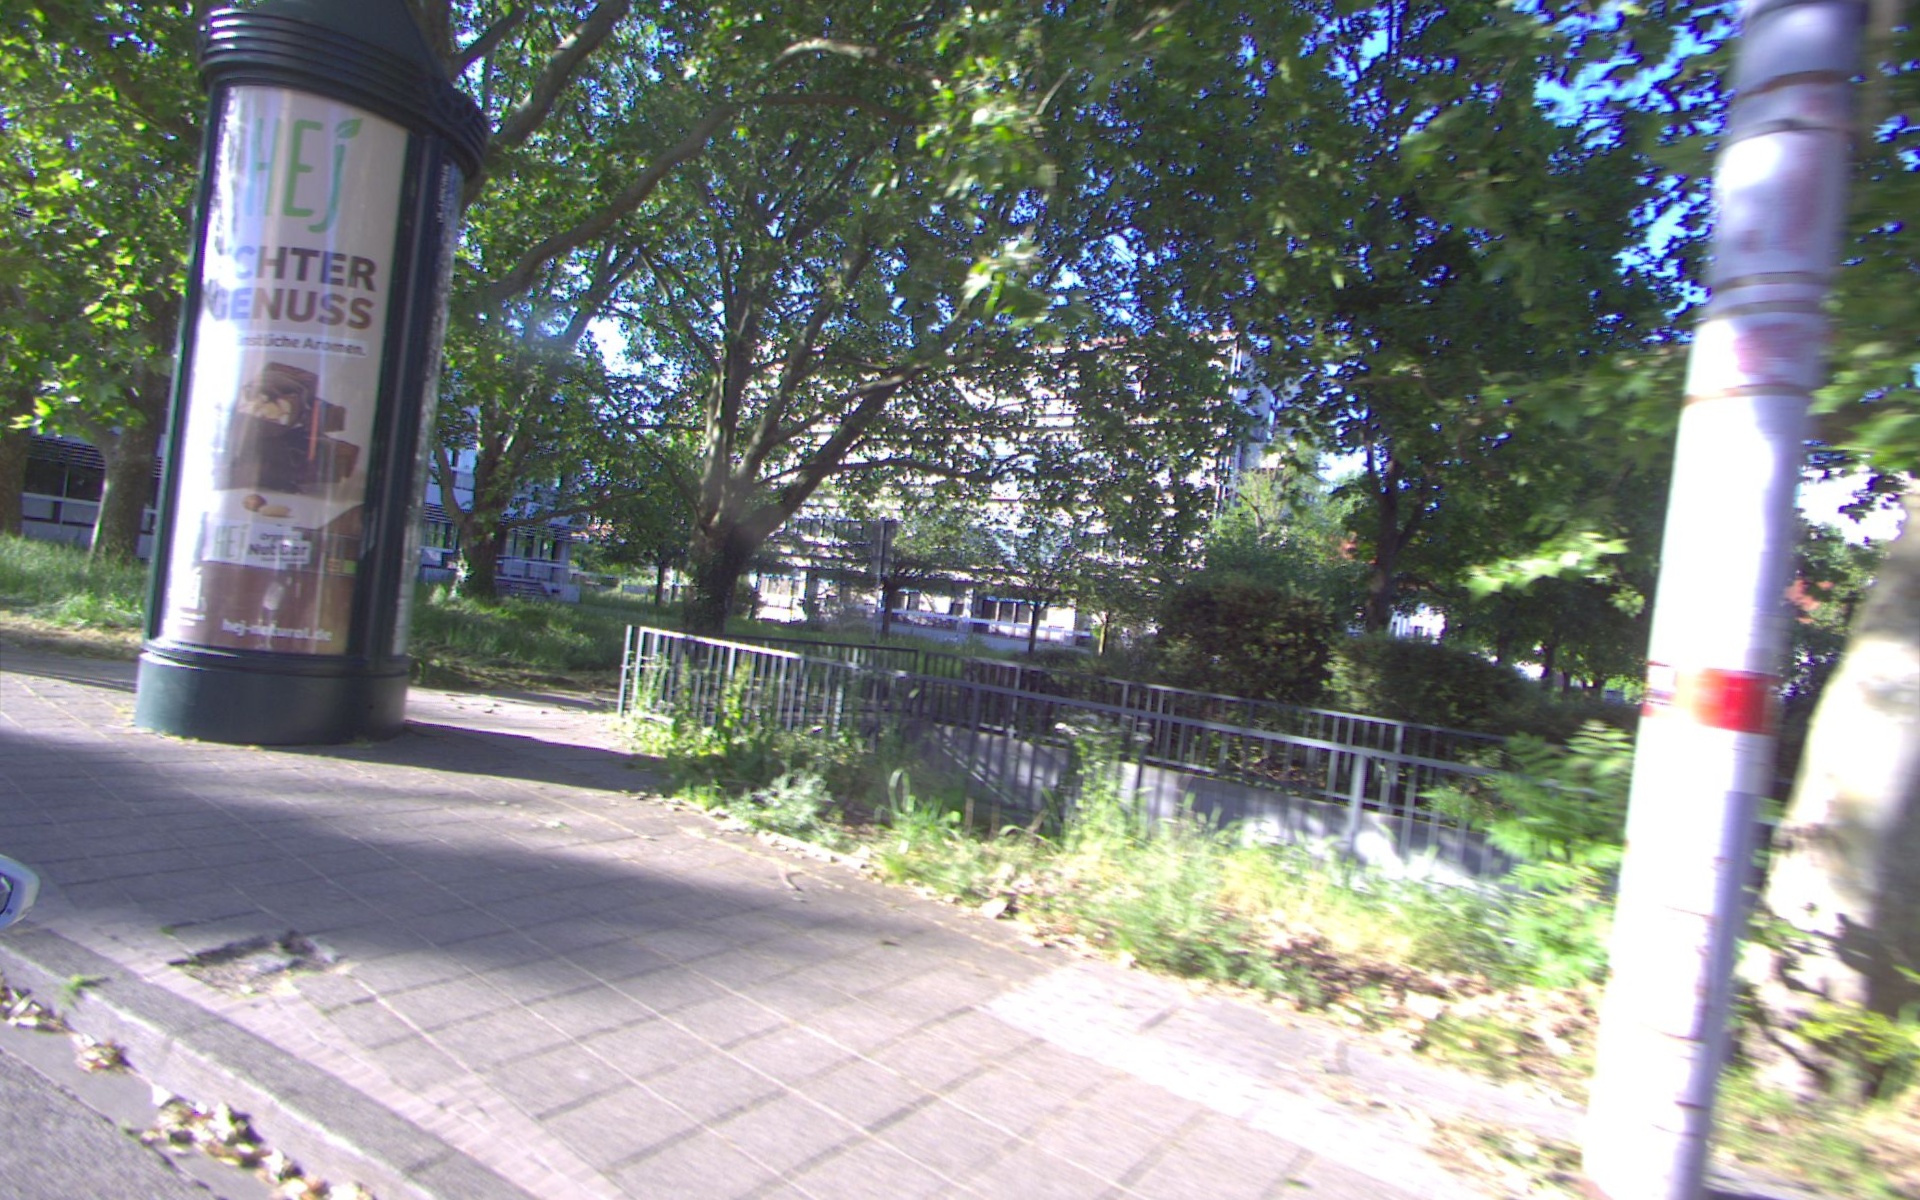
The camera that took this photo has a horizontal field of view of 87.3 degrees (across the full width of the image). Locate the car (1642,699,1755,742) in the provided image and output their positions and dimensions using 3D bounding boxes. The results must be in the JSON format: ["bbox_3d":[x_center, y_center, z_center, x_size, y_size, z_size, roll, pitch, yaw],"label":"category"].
[{"bbox_3d":[38.665,6.318,52.785,4.587,1.492,2.009,7,-2,37],"label":"car"}]
